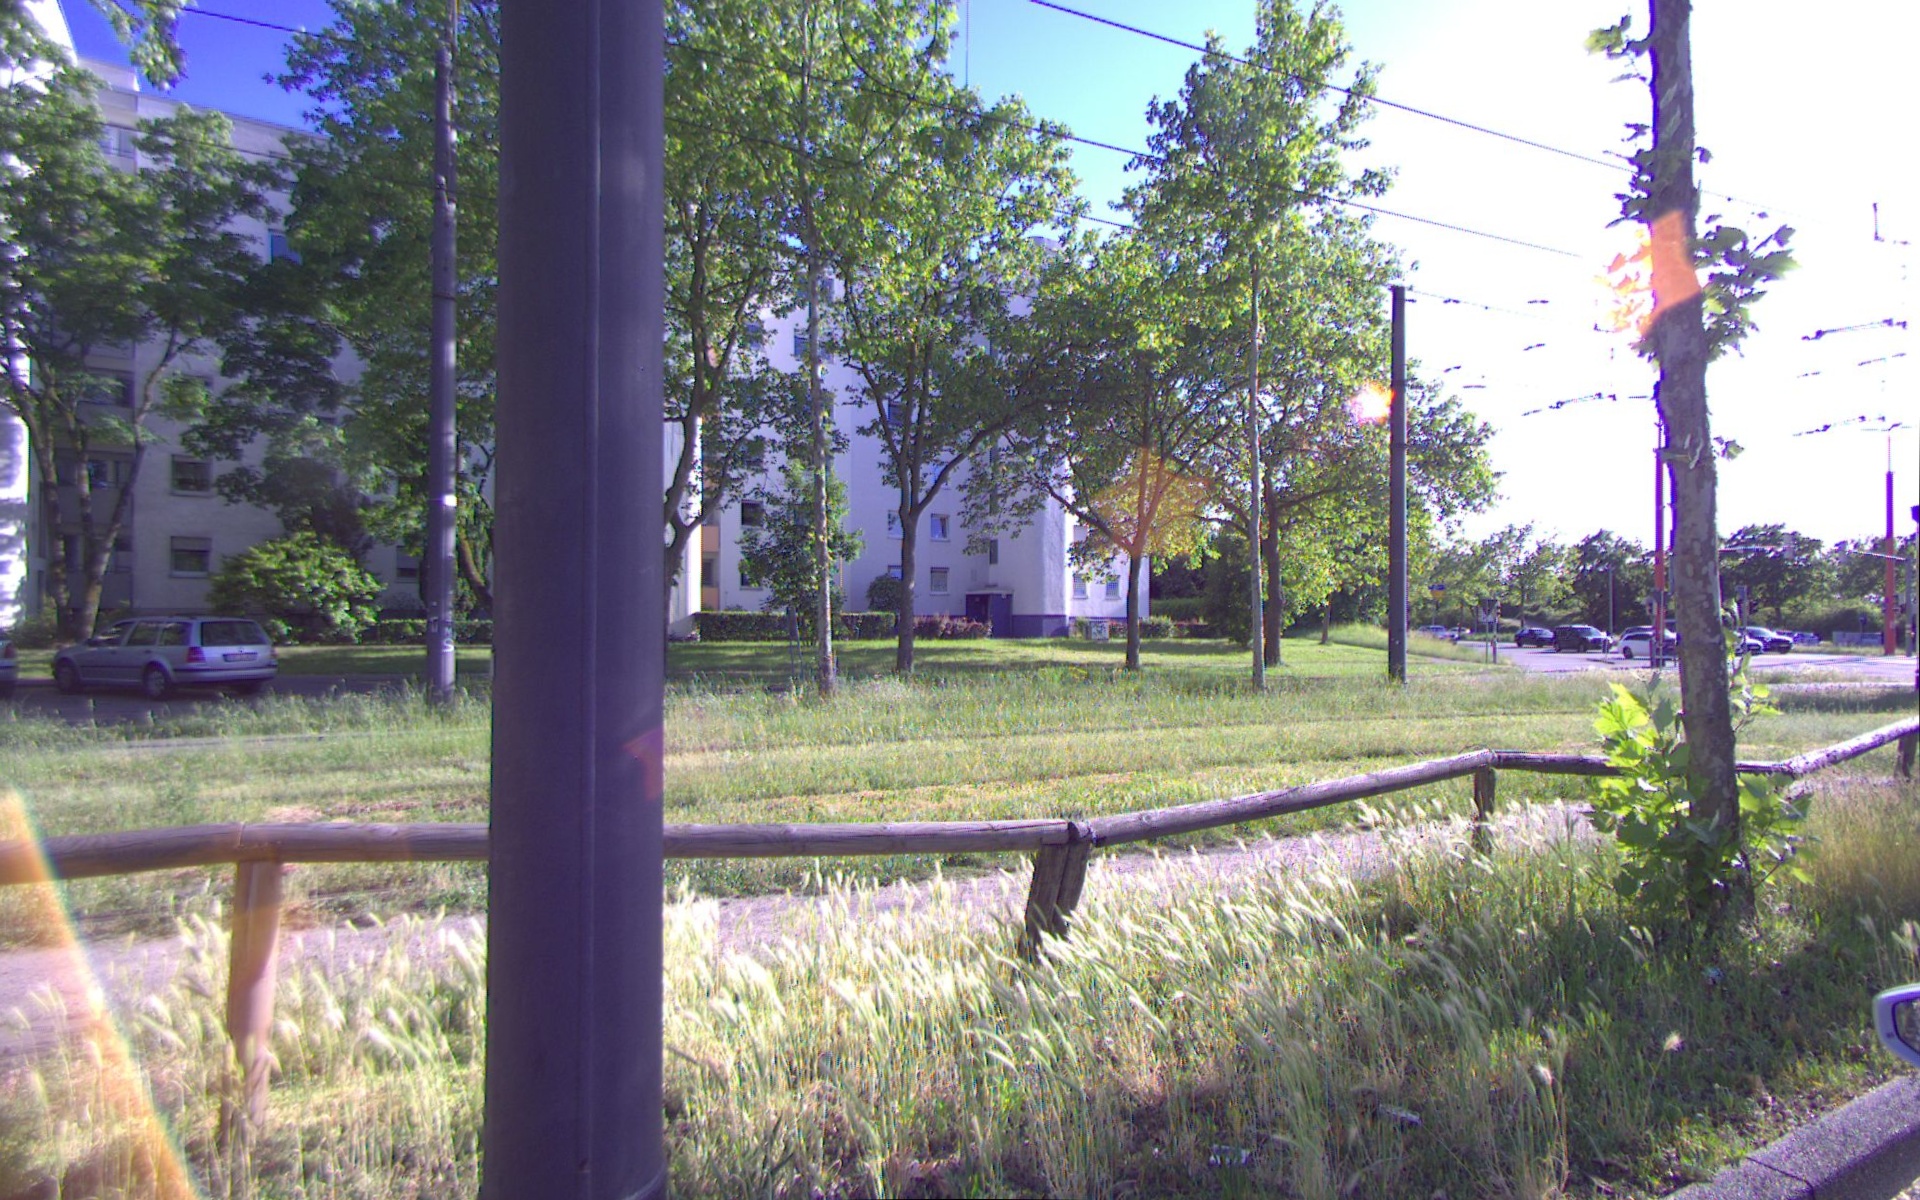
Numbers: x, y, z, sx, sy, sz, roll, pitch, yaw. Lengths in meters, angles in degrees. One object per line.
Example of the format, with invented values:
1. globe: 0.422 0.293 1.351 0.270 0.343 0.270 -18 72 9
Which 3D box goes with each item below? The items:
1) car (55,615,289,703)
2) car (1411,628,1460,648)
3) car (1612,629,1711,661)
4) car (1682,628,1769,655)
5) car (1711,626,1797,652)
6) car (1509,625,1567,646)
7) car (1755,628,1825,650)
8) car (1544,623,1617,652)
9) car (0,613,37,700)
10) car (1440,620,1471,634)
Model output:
1. car: -14.477 1.027 18.482 3.609 1.452 1.732 0 -1 20
2. car: 41.792 3.325 88.407 1.877 1.619 4.795 1 -1 -2
3. car: 38.615 2.438 55.468 1.961 1.596 4.930 1 -1 -1
4. car: 45.658 2.463 60.039 1.877 1.483 4.222 1 -1 -2
5. car: 48.622 2.390 61.639 1.877 1.483 4.222 1 -1 -2
6. car: 44.827 2.740 77.948 1.877 1.483 4.239 1 -1 -3
7. car: 63.110 2.960 76.469 1.961 1.601 3.999 1 -1 -2
8. car: 42.108 2.531 68.286 1.877 1.860 4.795 1 -1 -2
9. car: -17.921 0.928 17.138 3.609 1.452 1.703 0 -1 20
10. car: 62.222 3.380 126.132 1.824 1.601 3.999 1 -1 -2
